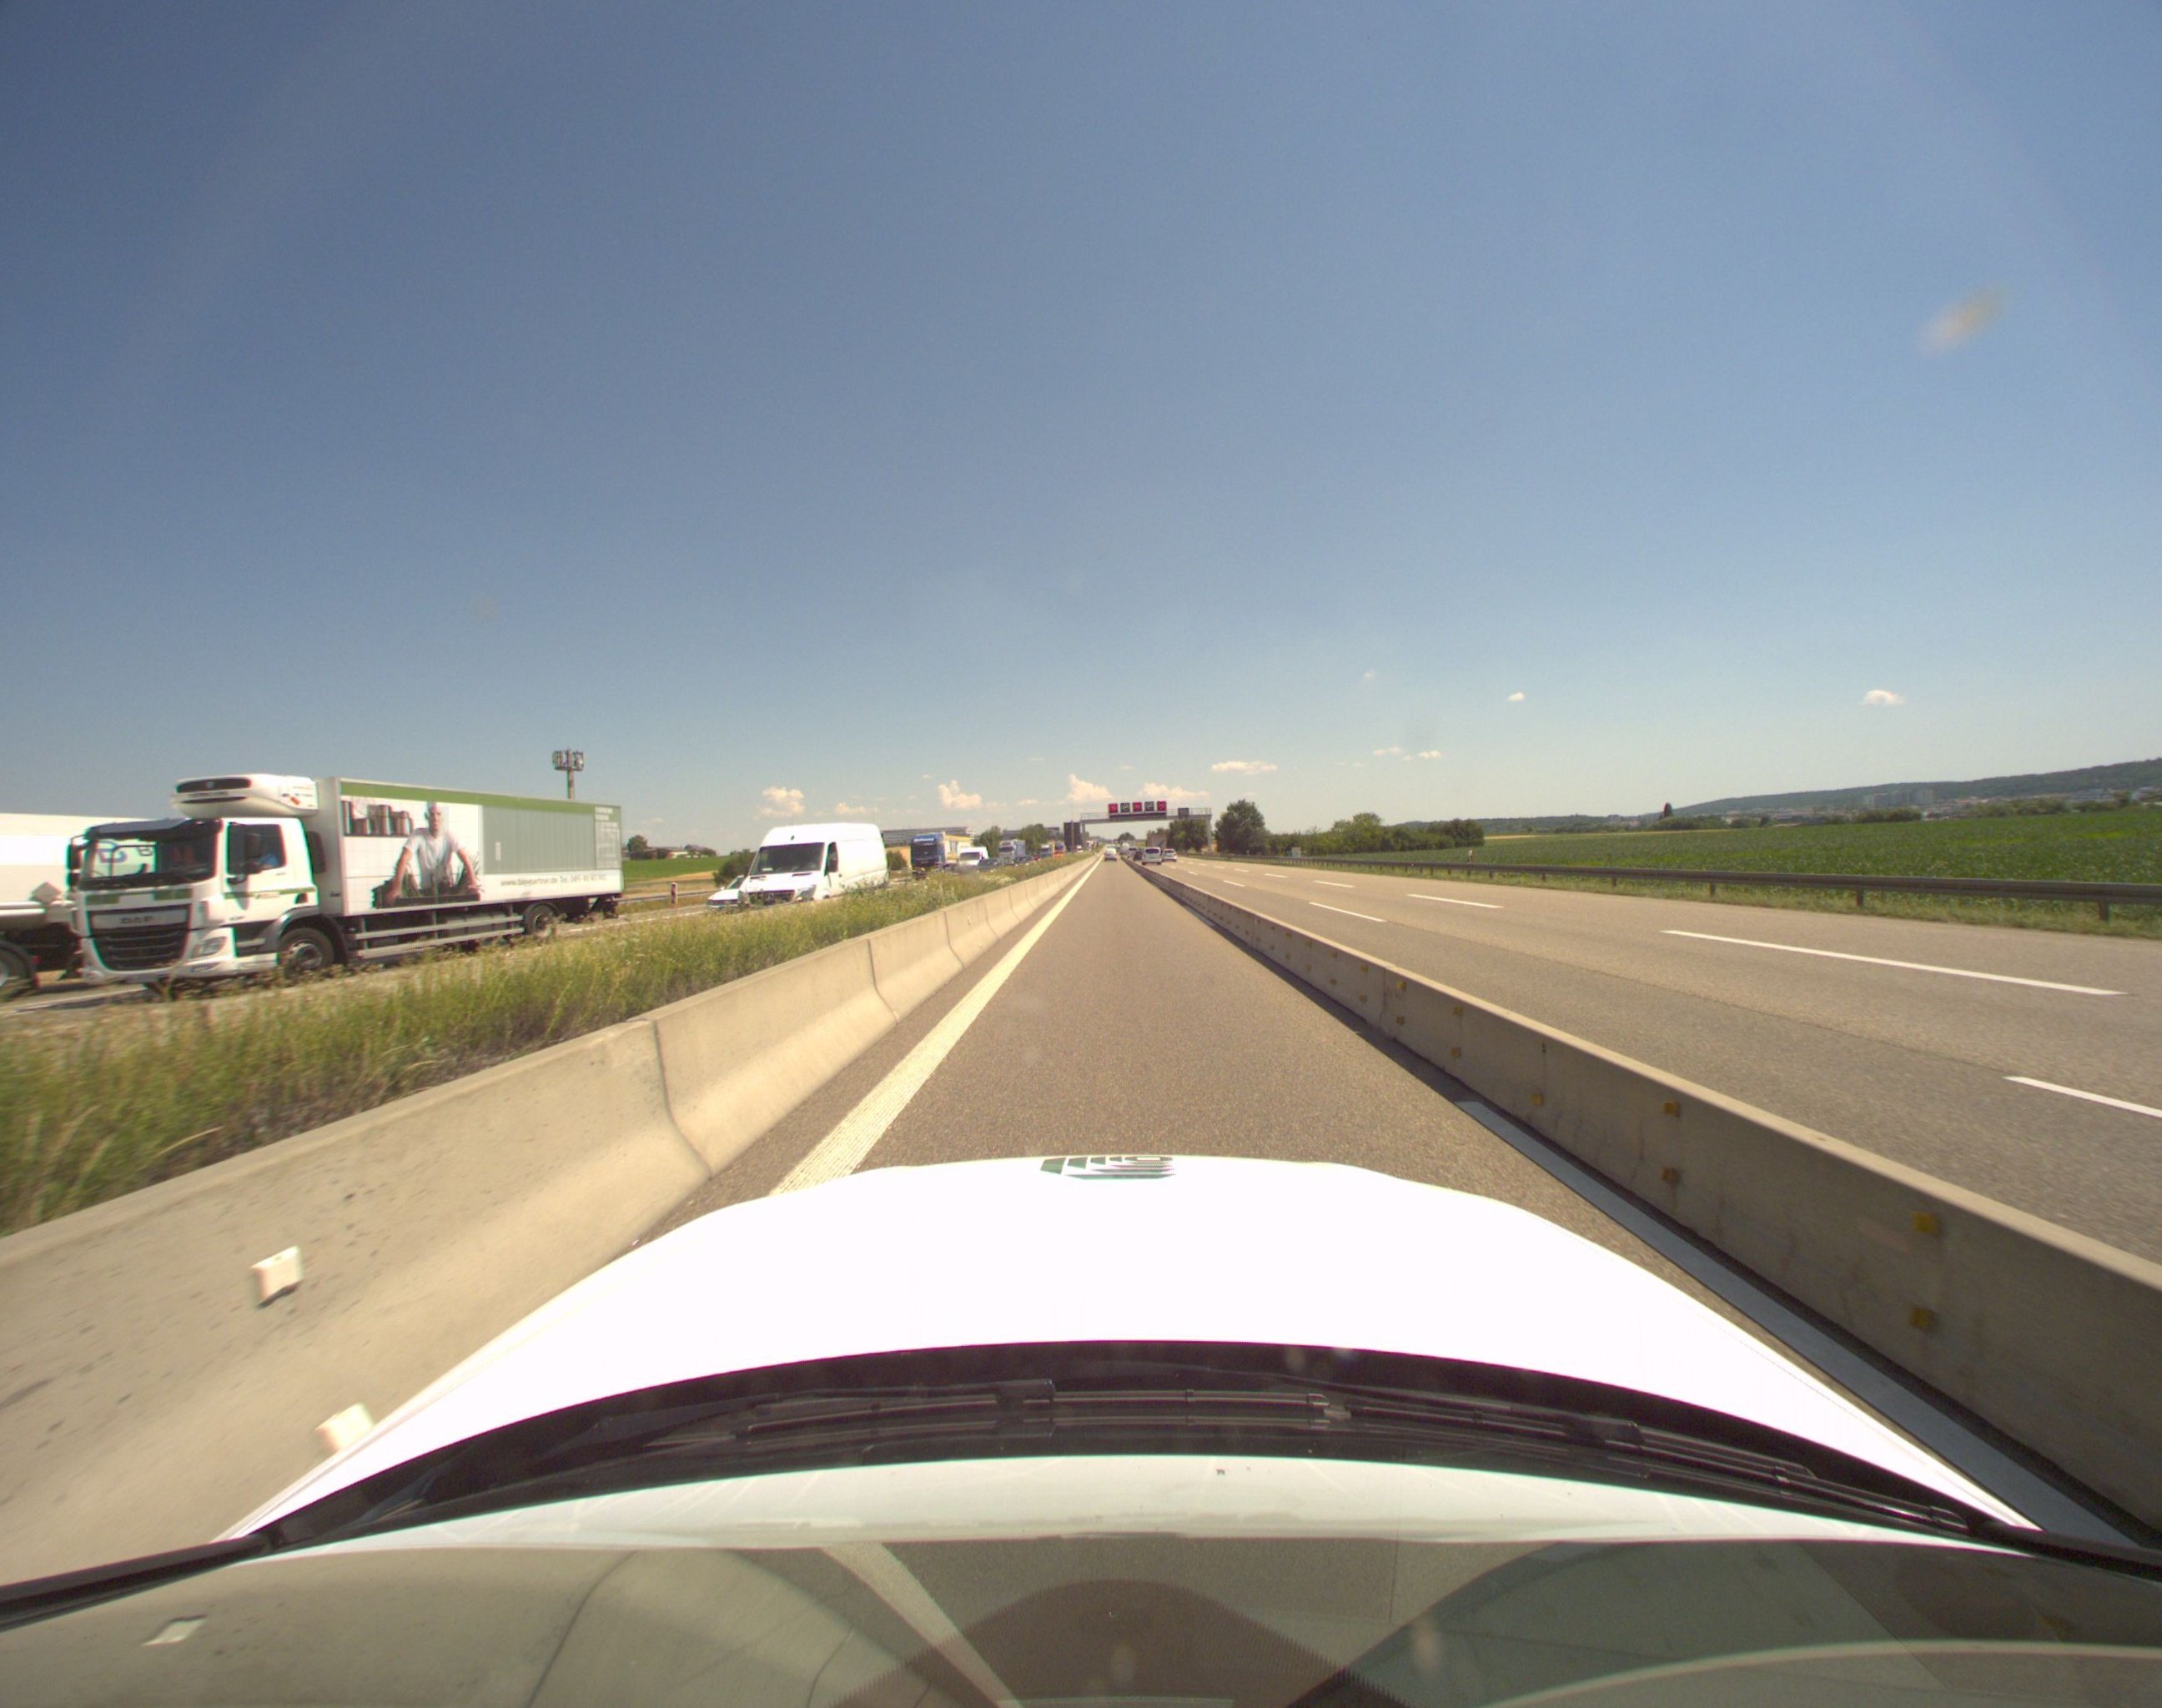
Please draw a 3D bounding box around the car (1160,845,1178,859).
[{"bbox_3d":[11.266,-0.224,104.429,1.986,1.794,4.002,-2,-1,2],"label":"car"}]

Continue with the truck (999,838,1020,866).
[{"bbox_3d":[-11.021,-0.318,125.869,2.402,4.086,4.662,-3,0,2],"label":"truck"}]

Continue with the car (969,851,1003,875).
[{"bbox_3d":[-6.481,0.602,55.773,1.592,1.469,4.535,-3,0,1],"label":"car"}]

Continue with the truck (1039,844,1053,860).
[{"bbox_3d":[-8.491,-0.511,198.976,2.687,3.587,4.003,-4,0,3],"label":"truck"}]

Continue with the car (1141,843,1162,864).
[{"bbox_3d":[7.480,-0.039,86.654,1.986,2.120,4.002,-2,-1,2],"label":"car"}]

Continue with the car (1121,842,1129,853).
[{"bbox_3d":[10.248,-1.560,188.730,1.766,2.392,4.002,-2,-1,2],"label":"car"}]

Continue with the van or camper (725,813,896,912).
[{"bbox_3d":[-6.995,0.177,22.167,2.028,2.221,7.211,-1,0,2],"label":"van or camper"}]

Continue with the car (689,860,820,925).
[{"bbox_3d":[-10.389,1.148,26.482,1.880,1.709,5.522,-4,0,0],"label":"car"}]

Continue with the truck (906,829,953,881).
[{"bbox_3d":[-12.944,0.065,69.940,2.799,4.128,4.843,-3,0,1],"label":"truck"}]

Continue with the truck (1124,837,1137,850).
[{"bbox_3d":[16.081,-3.265,264.710,3.802,3.904,9.584,-3,0,2],"label":"truck"}]

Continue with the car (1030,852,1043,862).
[{"bbox_3d":[-7.147,0.418,131.457,1.582,1.508,4.231,-3,0,2],"label":"car"}]

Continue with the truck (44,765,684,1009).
[{"bbox_3d":[-14.482,0.500,19.394,2.784,3.609,13.297,-4,0,2],"label":"truck"}]

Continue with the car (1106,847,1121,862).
[{"bbox_3d":[4.548,0.136,115.405,1.986,2.014,4.002,-2,-1,2],"label":"car"}]

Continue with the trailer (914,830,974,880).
[{"bbox_3d":[-12.755,0.043,77.302,2.799,4.128,14.135,-3,0,2],"label":"trailer"}]

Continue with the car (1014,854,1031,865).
[{"bbox_3d":[-7.534,0.729,105.700,1.741,1.266,4.435,-1,-1,1],"label":"car"}]

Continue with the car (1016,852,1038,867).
[{"bbox_3d":[-5.303,0.563,80.458,1.772,1.335,4.931,-1,-1,1],"label":"car"}]

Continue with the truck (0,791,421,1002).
[{"bbox_3d":[-20.615,0.851,16.061,2.884,3.776,13.314,-5,0,7],"label":"truck"}]

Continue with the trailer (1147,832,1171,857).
[{"bbox_3d":[13.267,-1.602,139.229,3.265,3.967,9.116,-2,-1,2],"label":"trailer"}]

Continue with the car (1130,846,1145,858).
[{"bbox_3d":[7.741,-0.254,111.616,1.766,1.447,4.002,-2,0,2],"label":"car"}]

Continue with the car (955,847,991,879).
[{"bbox_3d":[-9.260,0.709,70.227,2.039,2.501,5.814,-3,0,1],"label":"car"}]

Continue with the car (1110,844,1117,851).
[{"bbox_3d":[10.027,-1.998,250.946,1.986,1.835,4.002,-2,0,2],"label":"car"}]

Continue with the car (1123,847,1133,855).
[{"bbox_3d":[8.407,-0.497,145.993,1.766,1.447,4.002,-2,0,2],"label":"car"}]
